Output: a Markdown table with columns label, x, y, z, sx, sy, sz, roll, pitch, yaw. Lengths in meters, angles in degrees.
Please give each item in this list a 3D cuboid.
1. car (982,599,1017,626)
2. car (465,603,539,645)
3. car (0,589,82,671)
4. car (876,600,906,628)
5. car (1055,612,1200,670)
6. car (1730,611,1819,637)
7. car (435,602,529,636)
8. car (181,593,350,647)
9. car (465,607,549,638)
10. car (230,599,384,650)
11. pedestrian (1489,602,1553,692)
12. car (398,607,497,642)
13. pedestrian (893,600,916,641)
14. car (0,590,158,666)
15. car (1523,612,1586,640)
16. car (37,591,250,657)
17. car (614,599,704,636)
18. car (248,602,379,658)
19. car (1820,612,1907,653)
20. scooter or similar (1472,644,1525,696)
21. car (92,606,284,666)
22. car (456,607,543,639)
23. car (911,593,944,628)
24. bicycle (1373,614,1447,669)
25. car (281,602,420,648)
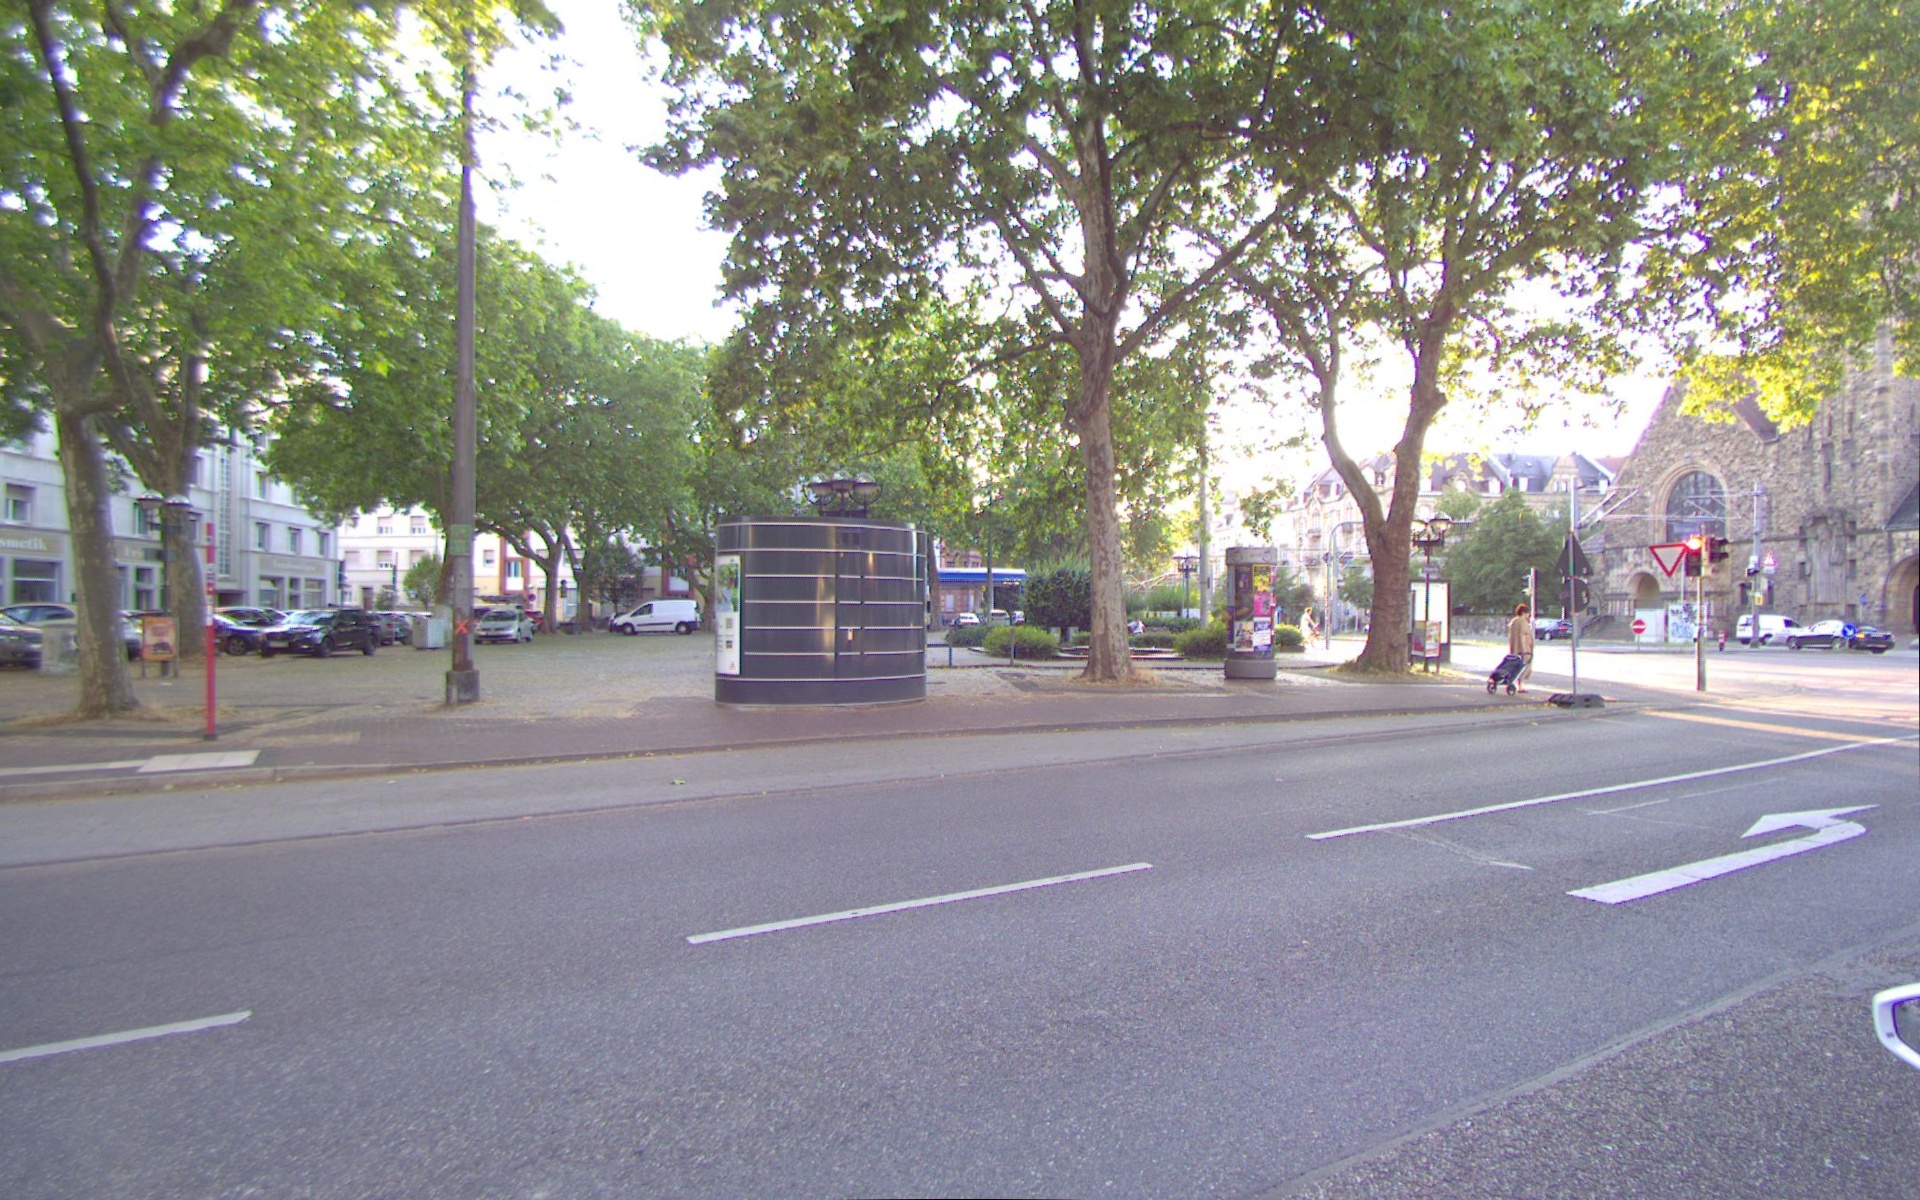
| label | x | y | z | sx | sy | sz | roll | pitch | yaw |
| --- | --- | --- | --- | --- | --- | --- | --- | --- | --- |
| car | 2.839 | 0.875 | 73.300 | 1.882 | 1.873 | 3.995 | 1 | 0 | -7 |
| car | -19.806 | 1.003 | 43.573 | 1.642 | 1.684 | 3.760 | 1 | 0 | -4 |
| car | -23.146 | 0.741 | 22.712 | 4.557 | 1.805 | 1.997 | -1 | -1 | -10 |
| car | -5.024 | 0.991 | 72.300 | 1.882 | 1.873 | 3.995 | 1 | 0 | -7 |
| car | 5.717 | 1.391 | 34.644 | 4.552 | 1.805 | 1.999 | -1 | -1 | -5 |
| car | 50.960 | 1.505 | 62.888 | 4.372 | 1.537 | 1.718 | 1 | 0 | -6 |
| car | -27.233 | 1.078 | 57.400 | 4.578 | 1.834 | 1.992 | -1 | -1 | -20 |
| car | -25.125 | 0.726 | 36.505 | 4.557 | 1.805 | 2.090 | -1 | -1 | -10 |
| car | -28.079 | 1.386 | 62.421 | 4.572 | 1.758 | 1.990 | -1 | -1 | -22 |
| car | -25.313 | 0.951 | 39.093 | 4.557 | 1.805 | 1.997 | -1 | -1 | -10 |
| pedestrian | 10.678 | 0.880 | 19.123 | 0.766 | 1.649 | 0.796 | 1 | 0 | -35 |
| car | -27.729 | 1.326 | 54.558 | 4.572 | 1.758 | 1.990 | -1 | -1 | -22 |
| pedestrian | -2.374 | 0.872 | 42.872 | 0.869 | 1.694 | 0.740 | 1 | 0 | -8 |
| car | -23.704 | 0.745 | 25.683 | 4.557 | 1.805 | 1.997 | -1 | -1 | -10 |
| car | 39.317 | 1.687 | 66.532 | 1.960 | 1.706 | 4.002 | 1 | 0 | 4 |
| car | -24.474 | 0.710 | 30.281 | 4.557 | 1.805 | 1.997 | -1 | -1 | -10 |
| car | -16.869 | 0.986 | 56.432 | 4.557 | 1.964 | 1.997 | -1 | -1 | -10 |
| car | -19.241 | 0.879 | 30.091 | 1.642 | 1.549 | 3.760 | 1 | -1 | -4 |
| car | 41.437 | 1.499 | 46.168 | 1.963 | 1.639 | 3.995 | 4 | 0 | 28 |
| scooter or similar | 9.960 | 1.278 | 18.588 | 0.845 | 0.910 | 0.586 | 1 | 0 | -41 |
| car | -25.129 | 1.159 | 32.863 | 4.557 | 1.758 | 1.997 | -1 | -1 | -10 |
| car | -27.392 | 1.368 | 59.923 | 4.572 | 1.758 | 1.990 | -1 | -1 | -22 |
| car | -2.388 | 0.731 | 72.544 | 1.963 | 2.375 | 3.995 | 1 | 0 | -7 |
| bicycle | 11.309 | 1.046 | 25.218 | 1.967 | 1.344 | 0.523 | 1 | 0 | -26 |
| car | -25.530 | 1.058 | 42.236 | 4.557 | 1.758 | 1.997 | -1 | -1 | -10 |
